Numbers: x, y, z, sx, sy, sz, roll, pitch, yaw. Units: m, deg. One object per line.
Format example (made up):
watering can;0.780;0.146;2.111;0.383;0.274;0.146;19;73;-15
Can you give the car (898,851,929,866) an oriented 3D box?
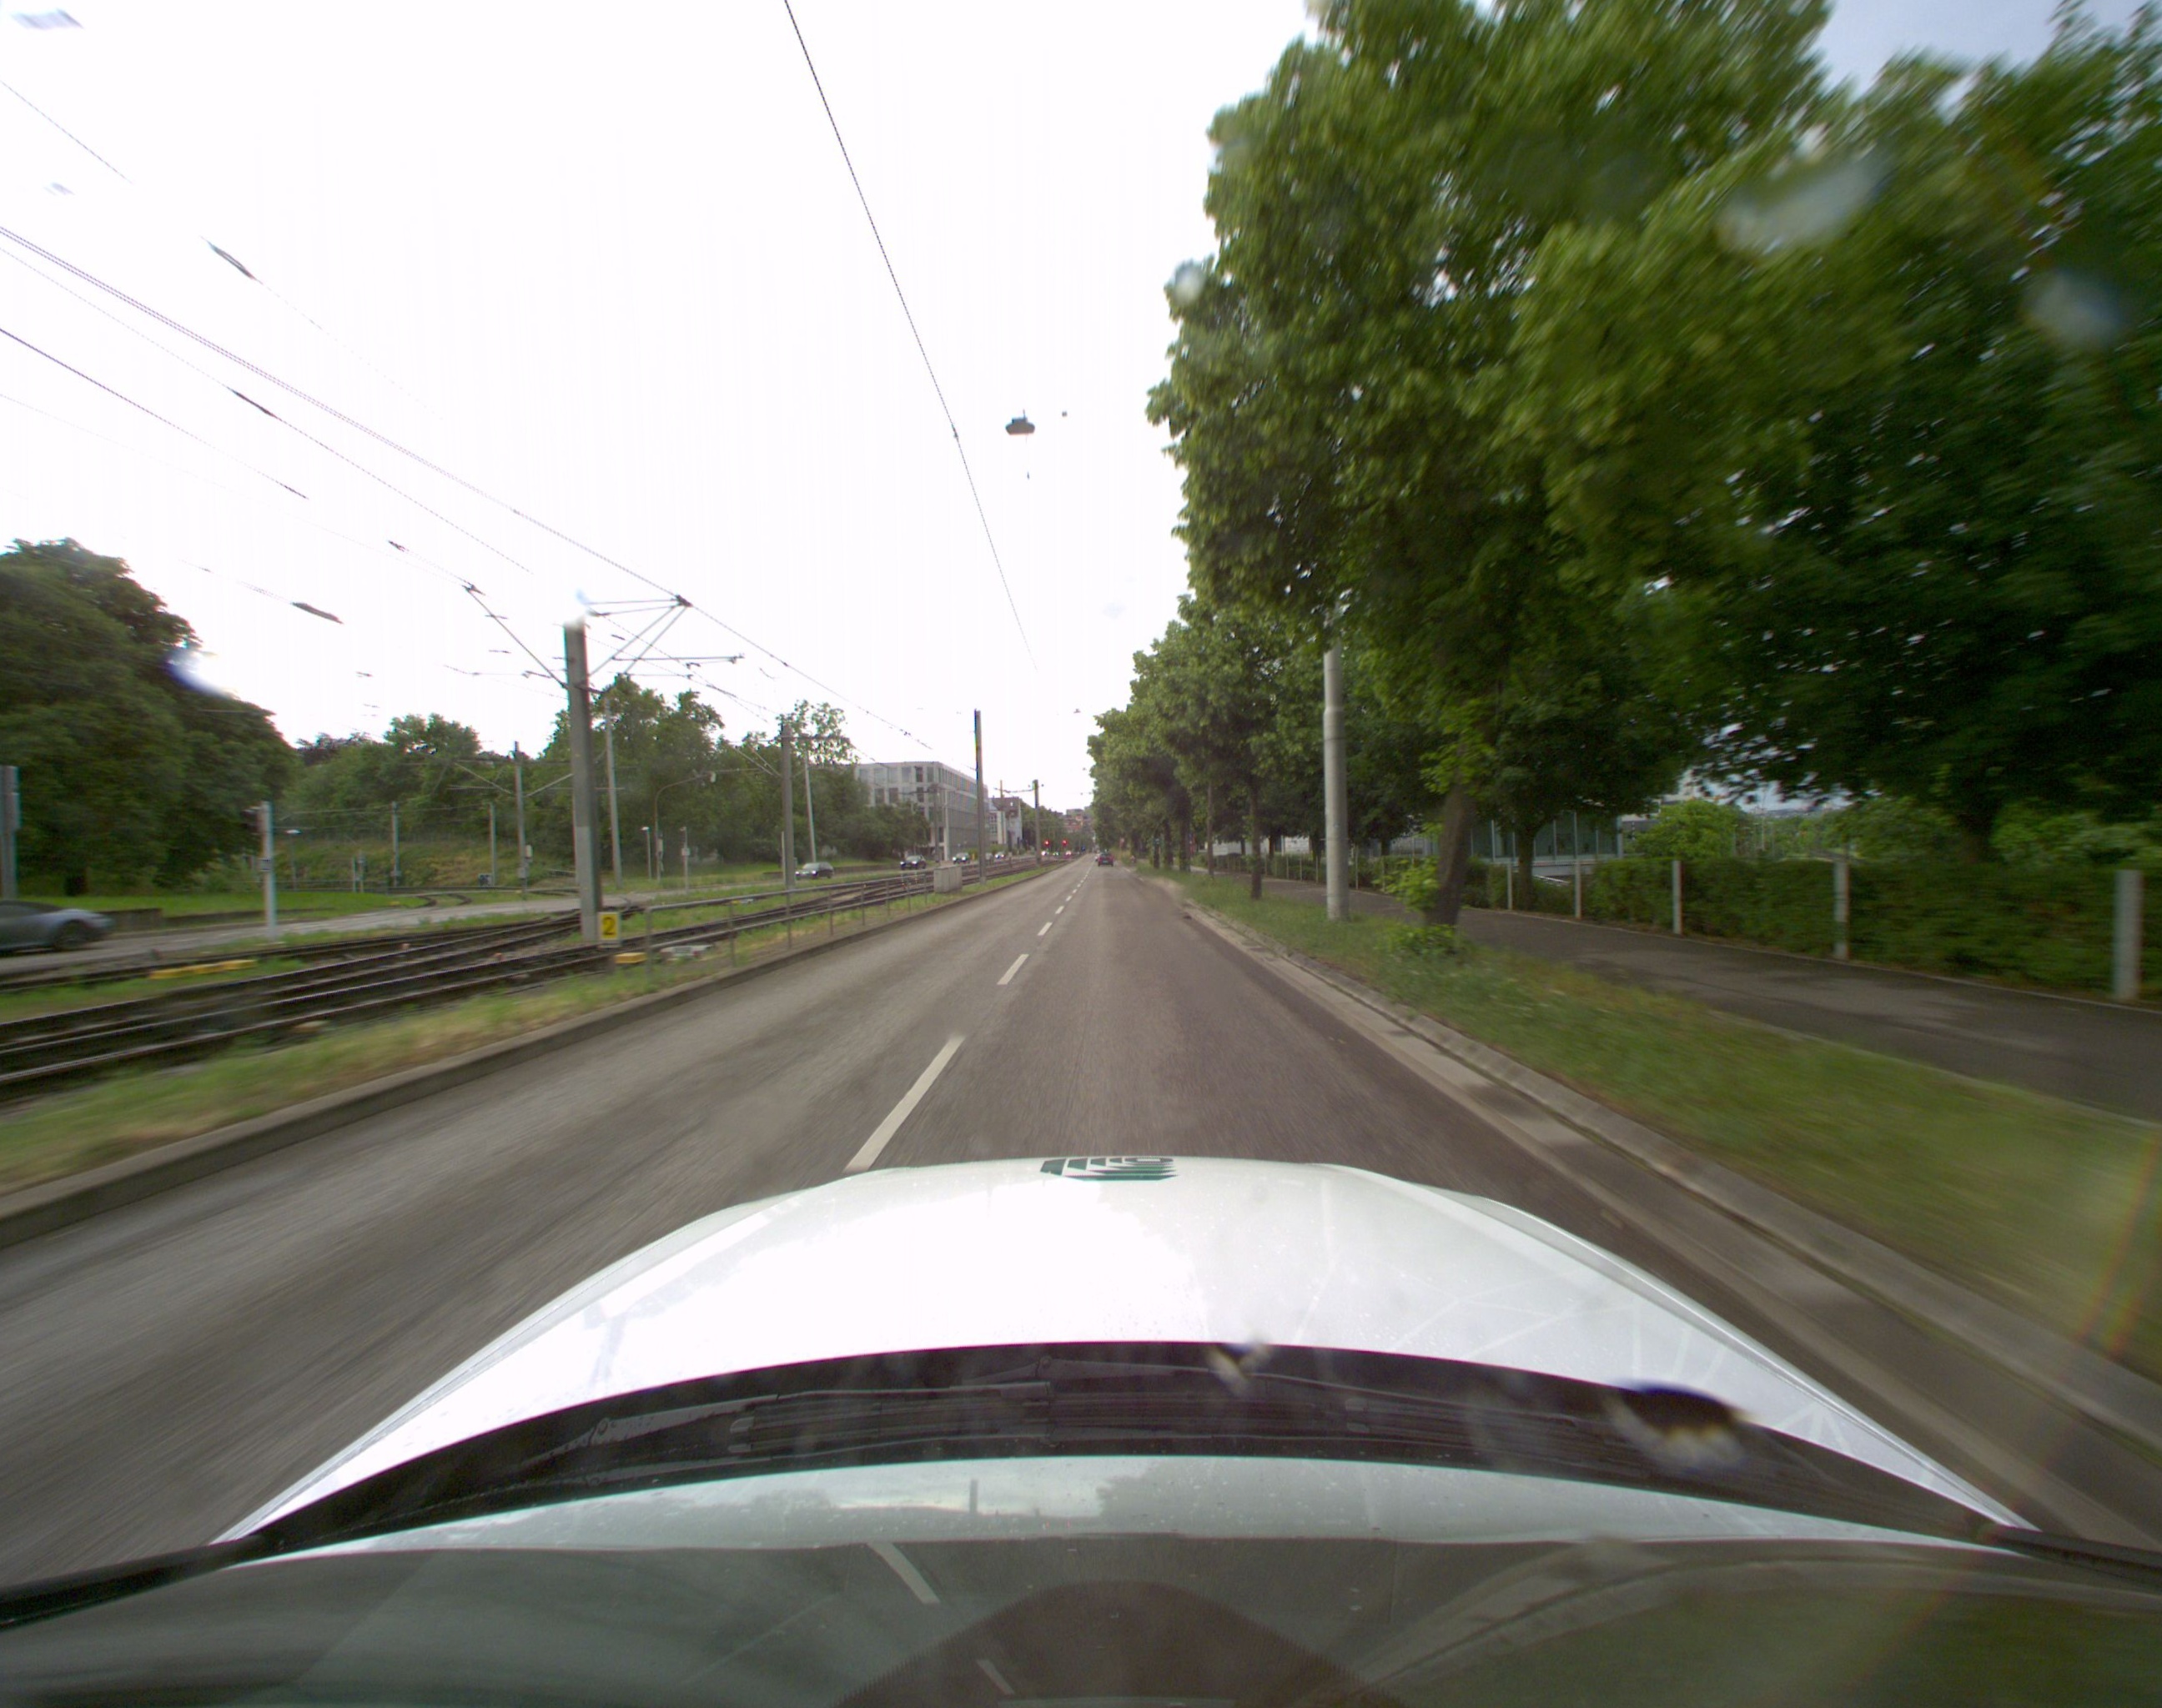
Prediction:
car;-19.630;0.543;95.598;2.080;1.589;5.164;-2;0;4

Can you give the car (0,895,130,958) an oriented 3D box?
car;-25.012;1.721;18.314;1.920;1.261;4.475;-2;0;1

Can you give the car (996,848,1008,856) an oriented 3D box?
car;-15.721;-0.437;162.297;1.753;1.397;3.905;-2;0;4

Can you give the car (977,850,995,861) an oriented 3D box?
car;-14.876;0.218;127.367;1.882;1.486;4.313;-2;0;4

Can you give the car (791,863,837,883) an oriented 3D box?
car;-22.152;1.527;67.811;1.918;1.446;4.689;-2;0;5

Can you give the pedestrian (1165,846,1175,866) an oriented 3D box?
pedestrian;7.895;0.196;72.011;0.822;1.797;0.868;-1;0;2

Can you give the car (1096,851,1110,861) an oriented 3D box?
car;3.261;0.329;121.069;1.975;1.440;4.476;-2;0;2

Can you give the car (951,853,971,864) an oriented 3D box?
car;-17.919;0.669;121.920;1.940;1.595;4.850;-2;0;2

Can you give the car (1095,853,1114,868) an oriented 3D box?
car;2.615;0.688;88.898;1.975;1.440;4.476;-2;0;2
